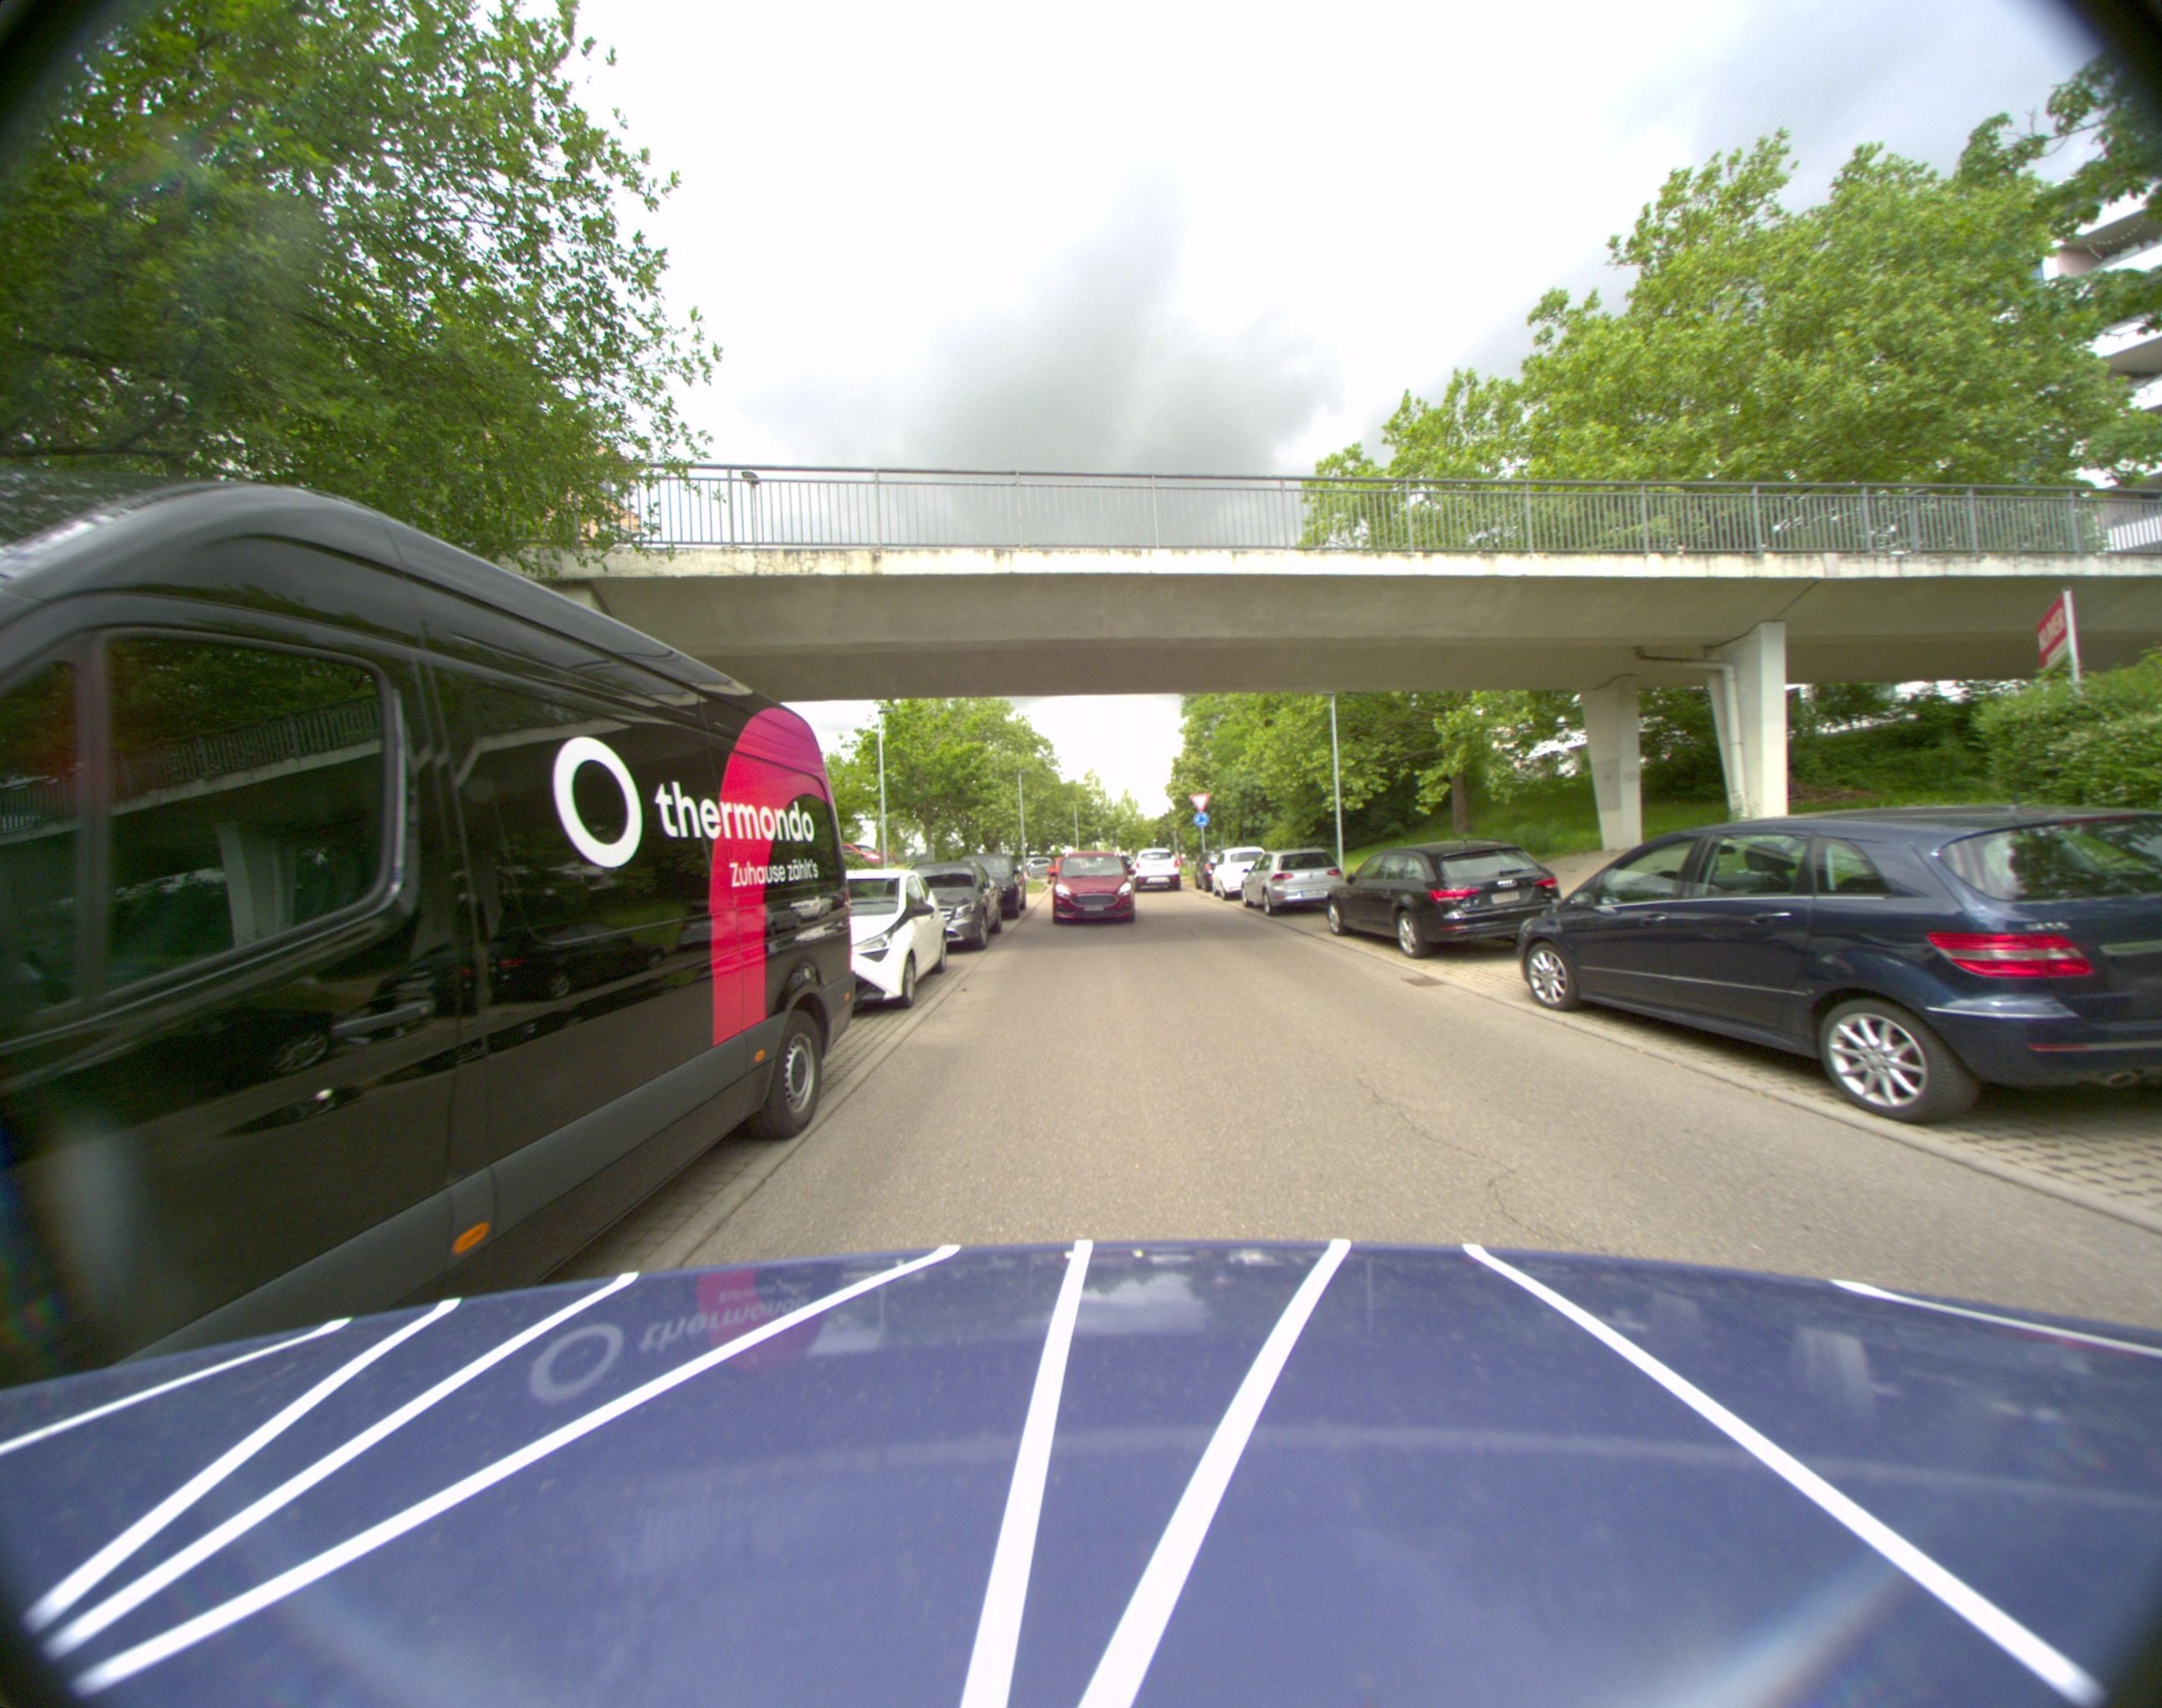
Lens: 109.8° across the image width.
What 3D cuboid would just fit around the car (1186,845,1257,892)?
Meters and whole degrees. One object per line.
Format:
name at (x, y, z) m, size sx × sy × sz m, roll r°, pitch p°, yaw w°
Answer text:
car at (5.102, 0.475, 28.082) m, size 1.813 × 1.561 × 3.721 m, roll -2°, pitch 1°, yaw -2°

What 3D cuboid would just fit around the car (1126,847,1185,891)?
car at (2.889, 0.538, 30.015) m, size 1.813 × 1.561 × 3.721 m, roll -2°, pitch 1°, yaw -2°

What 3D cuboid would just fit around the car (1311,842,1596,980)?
car at (5.004, 0.637, 11.055) m, size 1.813 × 1.472 × 4.485 m, roll -4°, pitch 1°, yaw -1°

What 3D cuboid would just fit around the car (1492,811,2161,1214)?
car at (4.839, 0.628, 5.146) m, size 1.813 × 1.575 × 3.985 m, roll -5°, pitch 0°, yaw -1°

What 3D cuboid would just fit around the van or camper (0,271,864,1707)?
van or camper at (-2.591, 0.371, 2.385) m, size 1.998 × 2.481 × 5.757 m, roll -2°, pitch 1°, yaw 1°

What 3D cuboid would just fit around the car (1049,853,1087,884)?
car at (-0.696, 0.805, 40.784) m, size 1.862 × 1.433 × 4.001 m, roll -4°, pitch -2°, yaw -1°

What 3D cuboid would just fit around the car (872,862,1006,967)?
car at (-2.380, 0.960, 13.649) m, size 1.604 × 1.478 × 3.721 m, roll -2°, pitch 1°, yaw 1°

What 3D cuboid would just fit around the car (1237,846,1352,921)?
car at (4.932, 0.613, 18.099) m, size 1.812 × 1.447 × 3.861 m, roll -5°, pitch 0°, yaw 4°

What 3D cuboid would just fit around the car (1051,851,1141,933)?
car at (0.331, 0.775, 17.586) m, size 1.813 × 1.600 × 3.721 m, roll -2°, pitch 1°, yaw 1°

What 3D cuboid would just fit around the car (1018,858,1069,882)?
car at (-2.761, 1.163, 56.225) m, size 1.711 × 1.521 × 3.788 m, roll -2°, pitch 1°, yaw 36°

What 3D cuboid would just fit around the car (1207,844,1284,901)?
car at (4.994, 0.491, 23.522) m, size 1.812 × 1.561 × 3.723 m, roll -2°, pitch 1°, yaw 4°

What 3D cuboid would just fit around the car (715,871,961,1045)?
car at (-2.541, 1.007, 8.898) m, size 1.586 × 1.441 × 3.721 m, roll -2°, pitch 1°, yaw 1°

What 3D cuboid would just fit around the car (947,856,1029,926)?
car at (-2.330, 0.883, 19.874) m, size 1.604 × 1.534 × 3.721 m, roll -2°, pitch 1°, yaw 1°
